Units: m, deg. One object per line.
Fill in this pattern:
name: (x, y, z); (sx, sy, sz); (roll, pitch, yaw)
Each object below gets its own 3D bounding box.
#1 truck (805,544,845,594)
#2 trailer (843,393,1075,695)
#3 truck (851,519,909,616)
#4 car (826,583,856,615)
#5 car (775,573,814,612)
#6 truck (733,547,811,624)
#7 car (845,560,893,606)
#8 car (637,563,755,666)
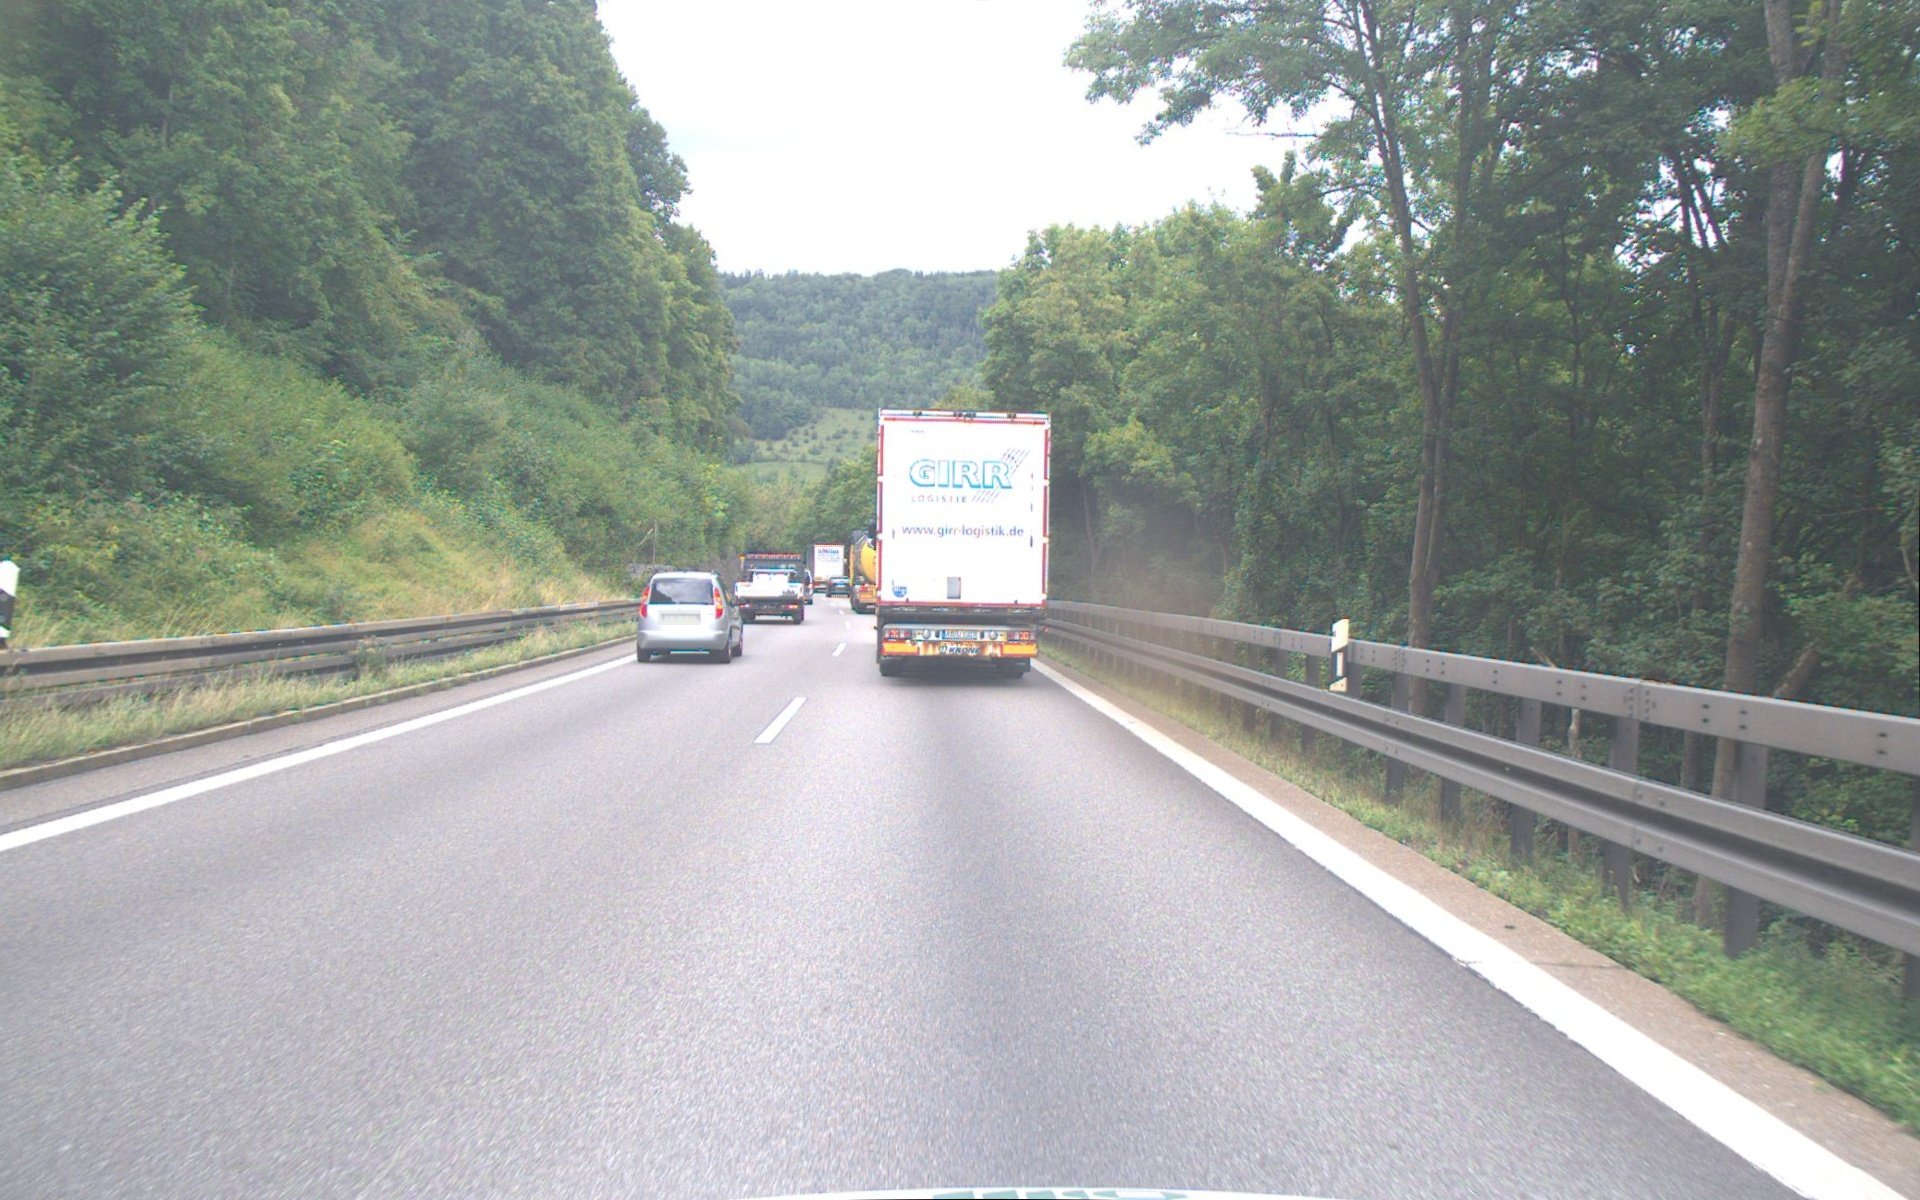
truck: (-11.473, -2.586, 139.883); (3.010, 3.944, 8.446); (3, 0, -6)
trailer: (-0.224, -0.858, 28.450); (3.071, 4.112, 9.435); (4, 1, -3)
truck: (-3.376, -1.351, 71.226); (2.189, 3.870, 6.820); (3, 0, -2)
car: (-8.312, -0.079, 115.251); (1.954, 2.049, 3.996); (3, 0, -4)
car: (-9.017, -0.455, 90.089); (1.979, 1.947, 5.556); (3, 1, -6)
truck: (-6.243, -0.492, 55.530); (2.303, 2.313, 6.842); (3, 0, -5)
car: (-4.425, -0.803, 79.630); (1.956, 2.049, 4.327); (3, 0, -7)
car: (-4.868, 0.235, 31.037); (1.601, 1.756, 4.343); (2, 0, -2)
